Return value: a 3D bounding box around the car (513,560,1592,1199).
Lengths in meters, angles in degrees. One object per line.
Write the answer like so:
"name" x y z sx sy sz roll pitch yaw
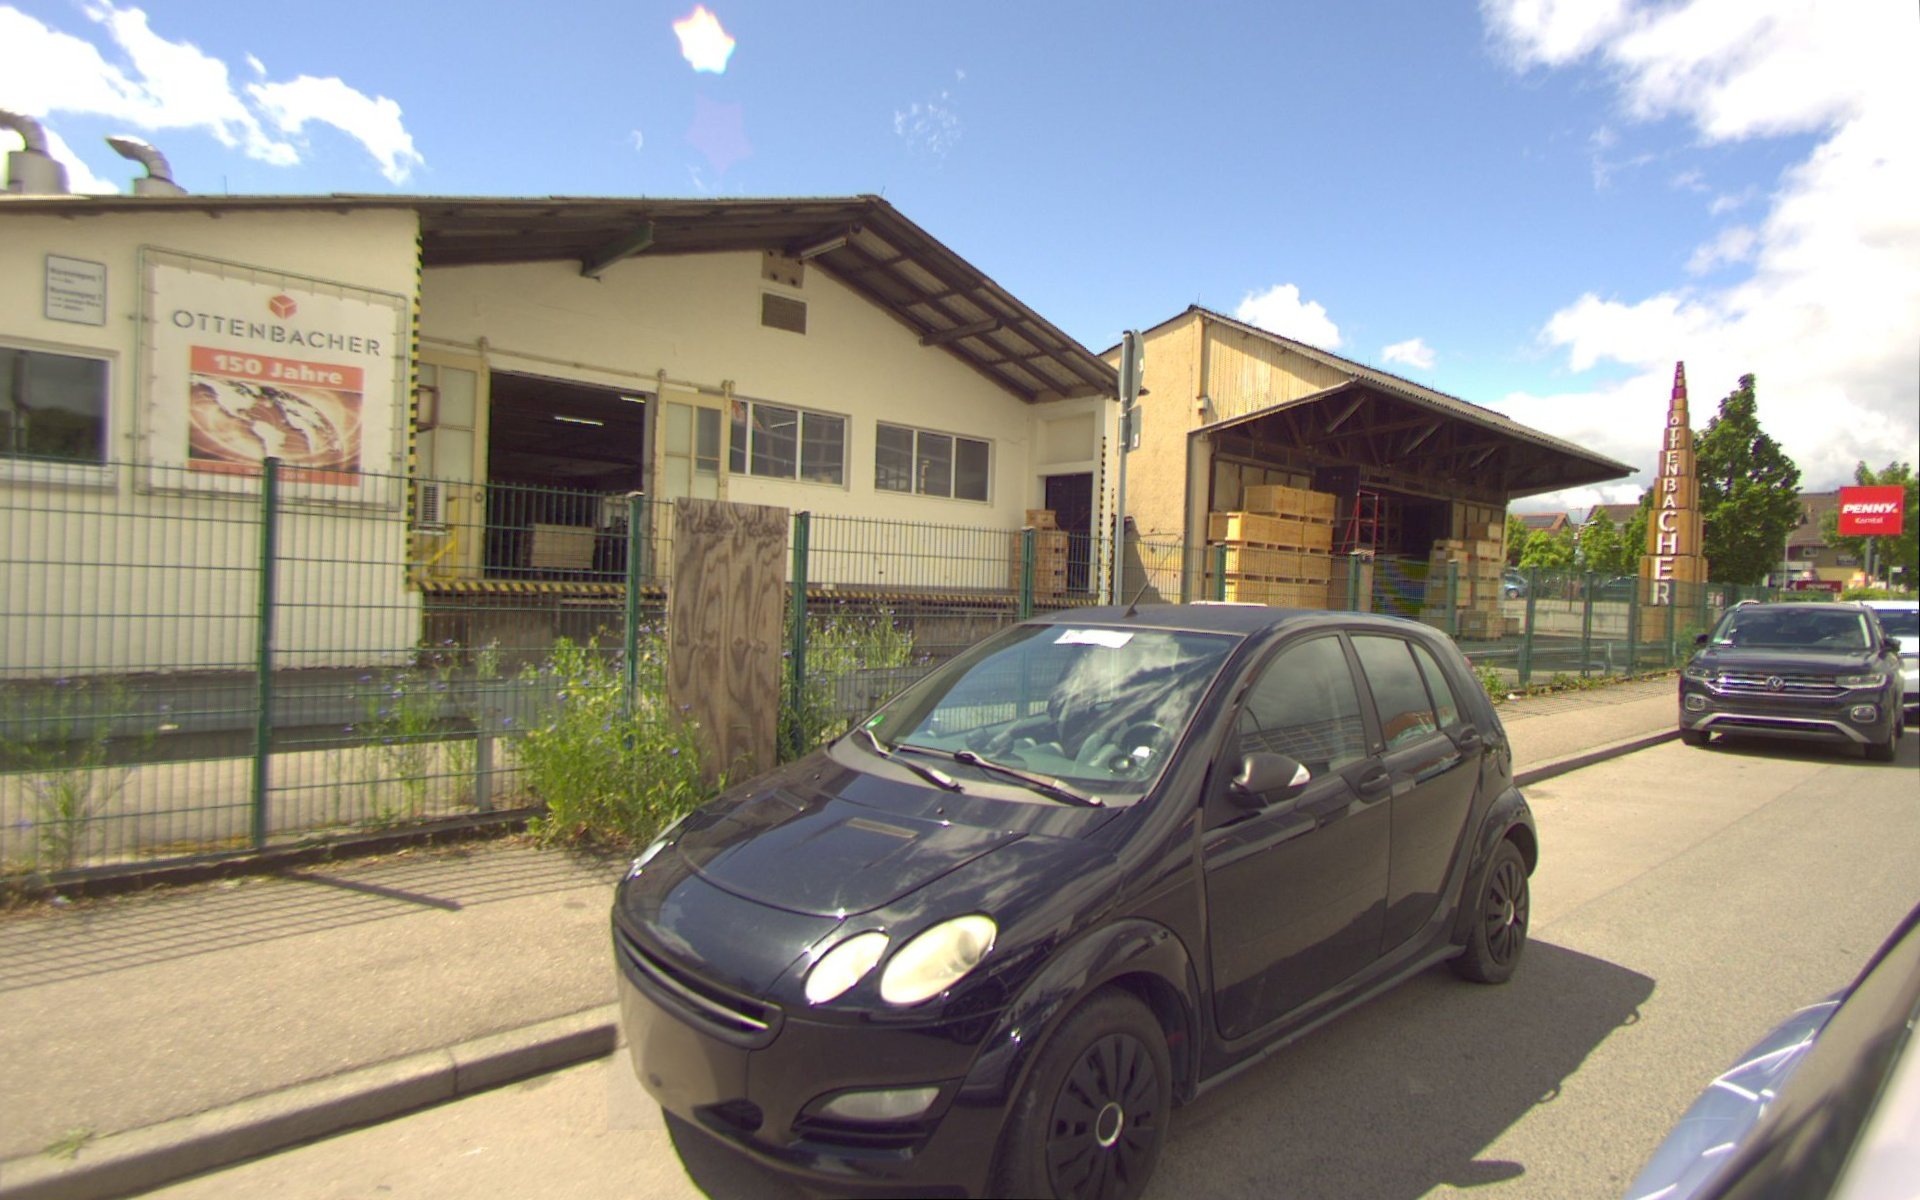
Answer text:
"car" 0.638 0.653 3.636 3.780 1.468 1.693 0 2 -41

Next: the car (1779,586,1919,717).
"car" 13.320 0.660 14.449 4.494 1.571 1.795 1 2 -42

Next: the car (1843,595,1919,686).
"car" 17.443 0.702 18.193 4.288 1.468 1.795 1 2 -42

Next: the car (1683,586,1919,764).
"car" 9.525 0.679 11.279 4.019 1.571 1.691 0 2 -45

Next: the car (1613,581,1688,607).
"car" 48.324 -0.409 70.863 1.966 1.728 3.991 1 -1 -42
